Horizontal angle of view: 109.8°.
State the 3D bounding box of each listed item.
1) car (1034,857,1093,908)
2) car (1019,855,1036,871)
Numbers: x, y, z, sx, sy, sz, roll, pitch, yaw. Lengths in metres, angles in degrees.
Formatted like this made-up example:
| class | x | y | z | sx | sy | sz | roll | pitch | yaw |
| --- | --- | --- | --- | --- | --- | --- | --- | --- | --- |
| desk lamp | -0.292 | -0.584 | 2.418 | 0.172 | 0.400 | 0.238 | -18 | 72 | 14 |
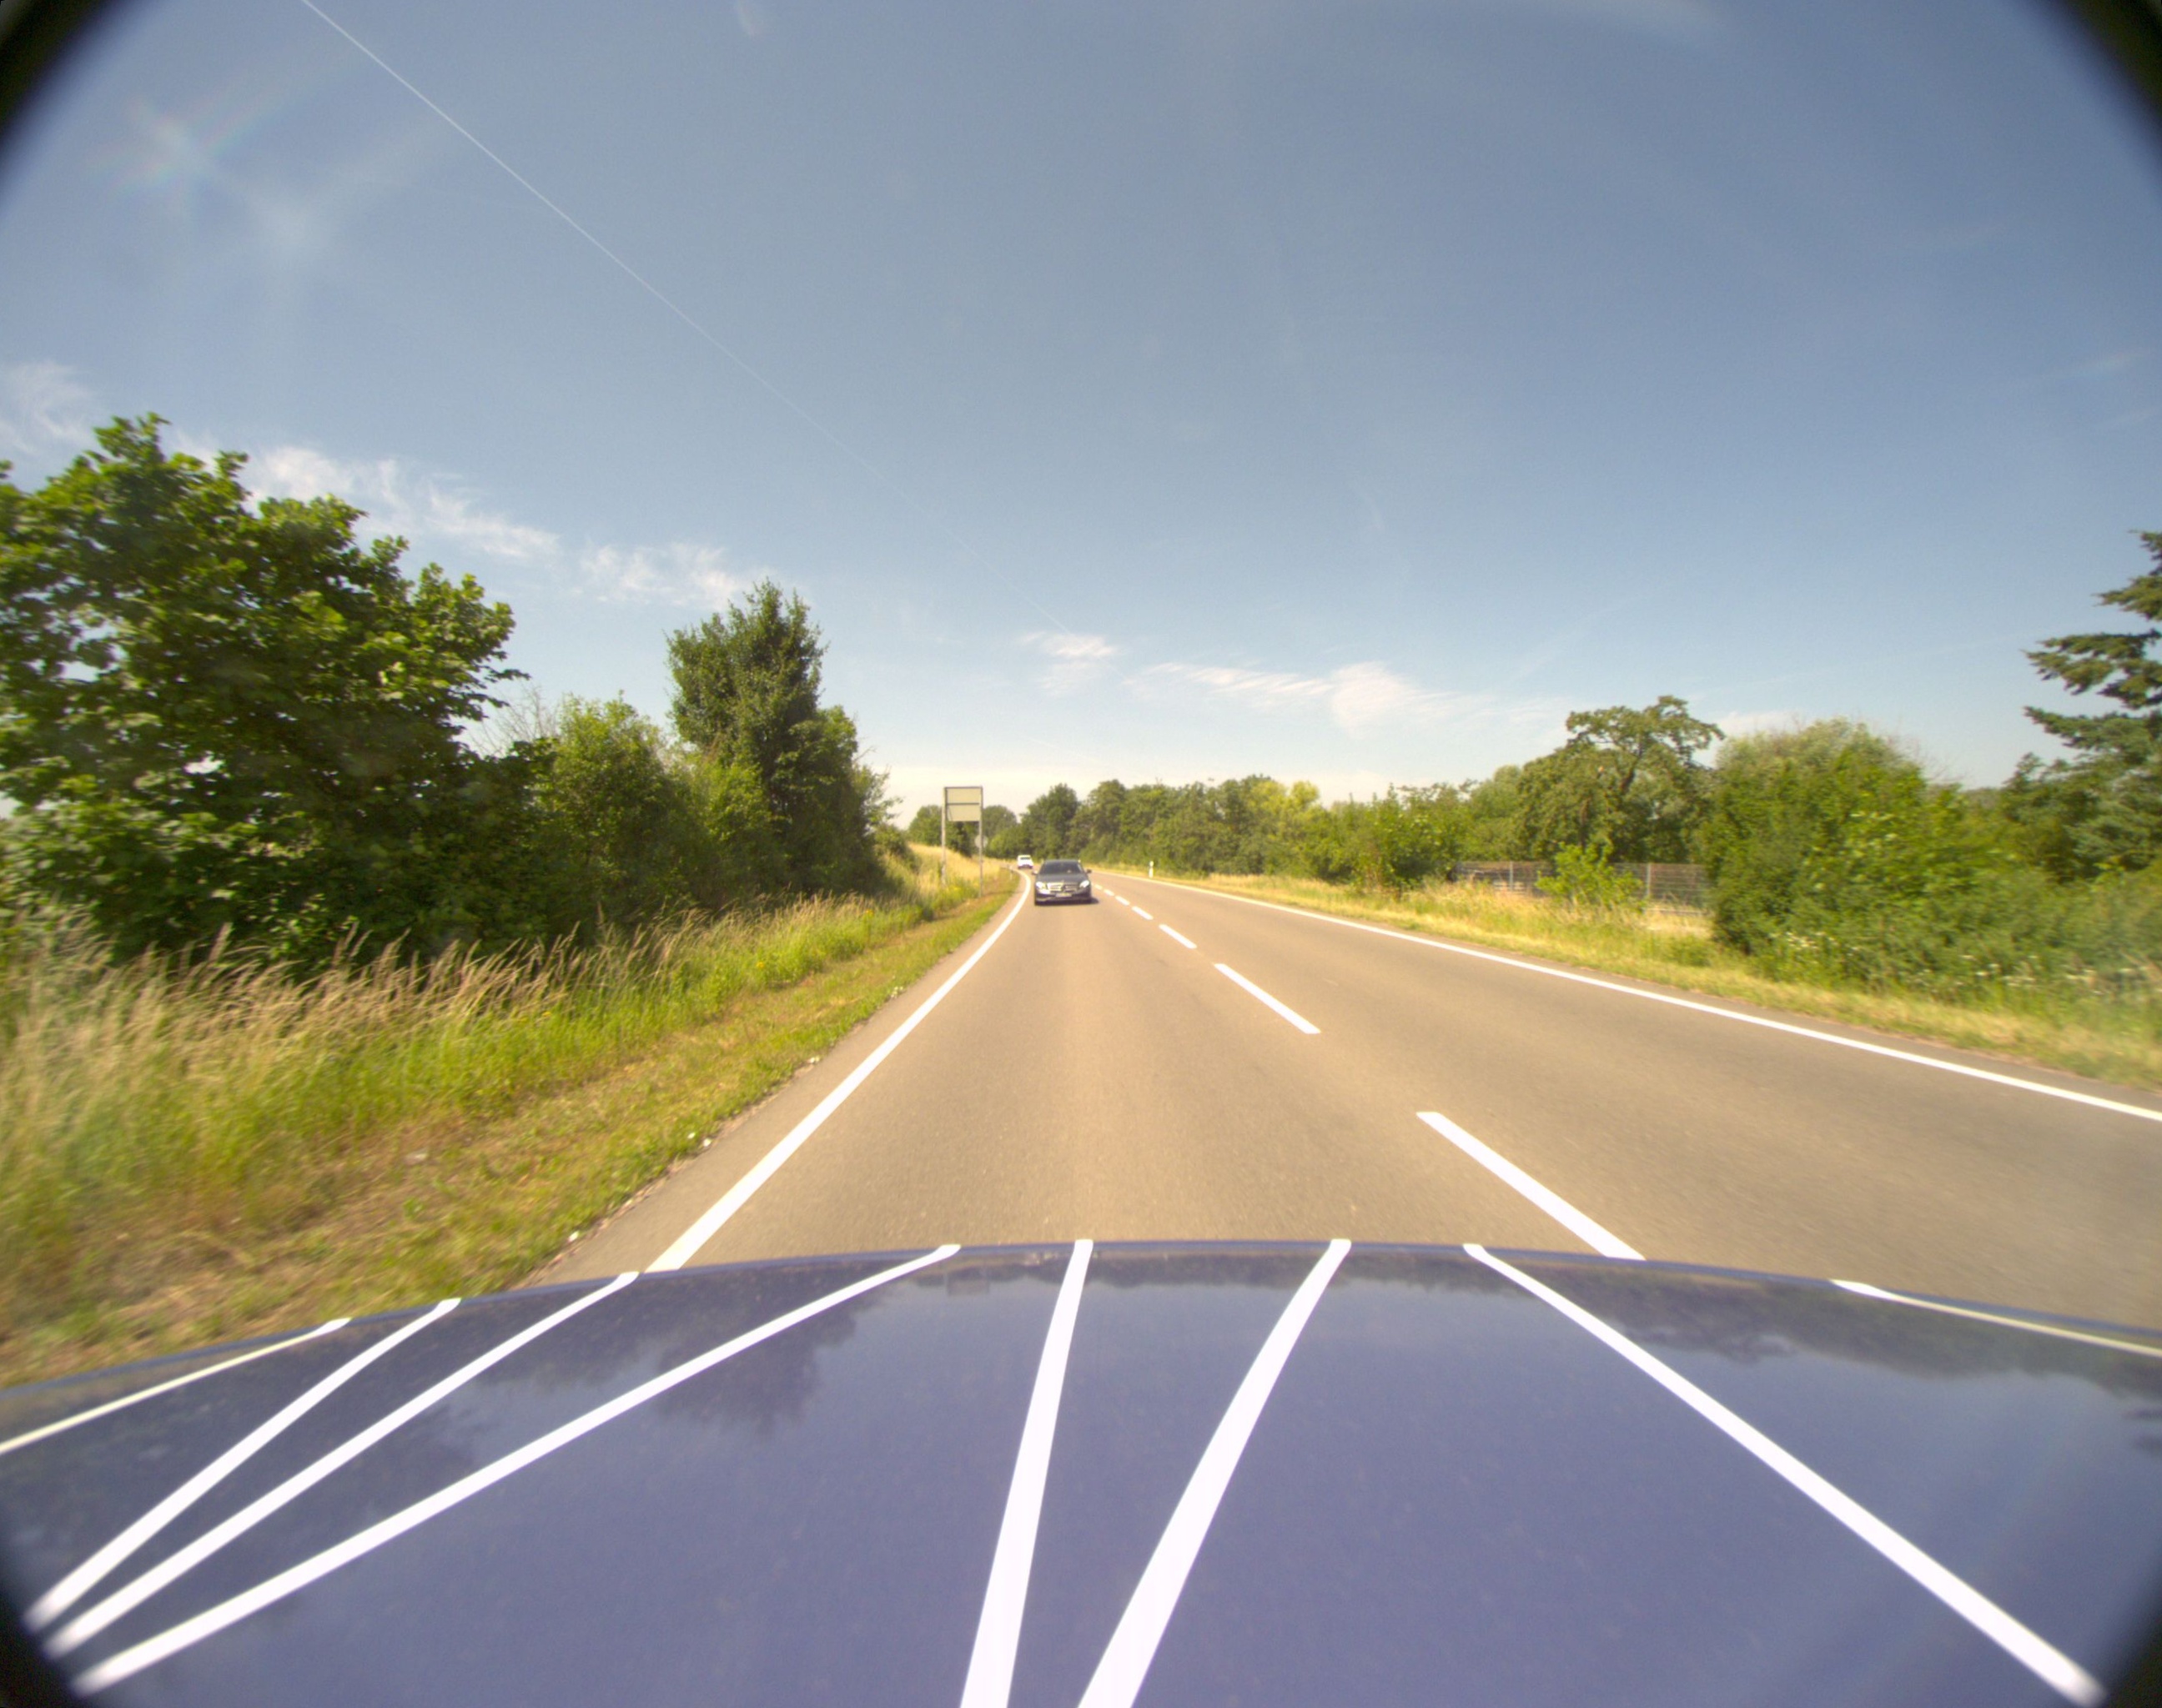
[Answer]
| class | x | y | z | sx | sy | sz | roll | pitch | yaw |
| --- | --- | --- | --- | --- | --- | --- | --- | --- | --- |
| car | -0.639 | 0.894 | 26.214 | 1.832 | 1.540 | 4.497 | -2 | 0 | -2 |
| car | -7.467 | 1.247 | 105.816 | 2.180 | 2.002 | 5.023 | -3 | 0 | -4 |
